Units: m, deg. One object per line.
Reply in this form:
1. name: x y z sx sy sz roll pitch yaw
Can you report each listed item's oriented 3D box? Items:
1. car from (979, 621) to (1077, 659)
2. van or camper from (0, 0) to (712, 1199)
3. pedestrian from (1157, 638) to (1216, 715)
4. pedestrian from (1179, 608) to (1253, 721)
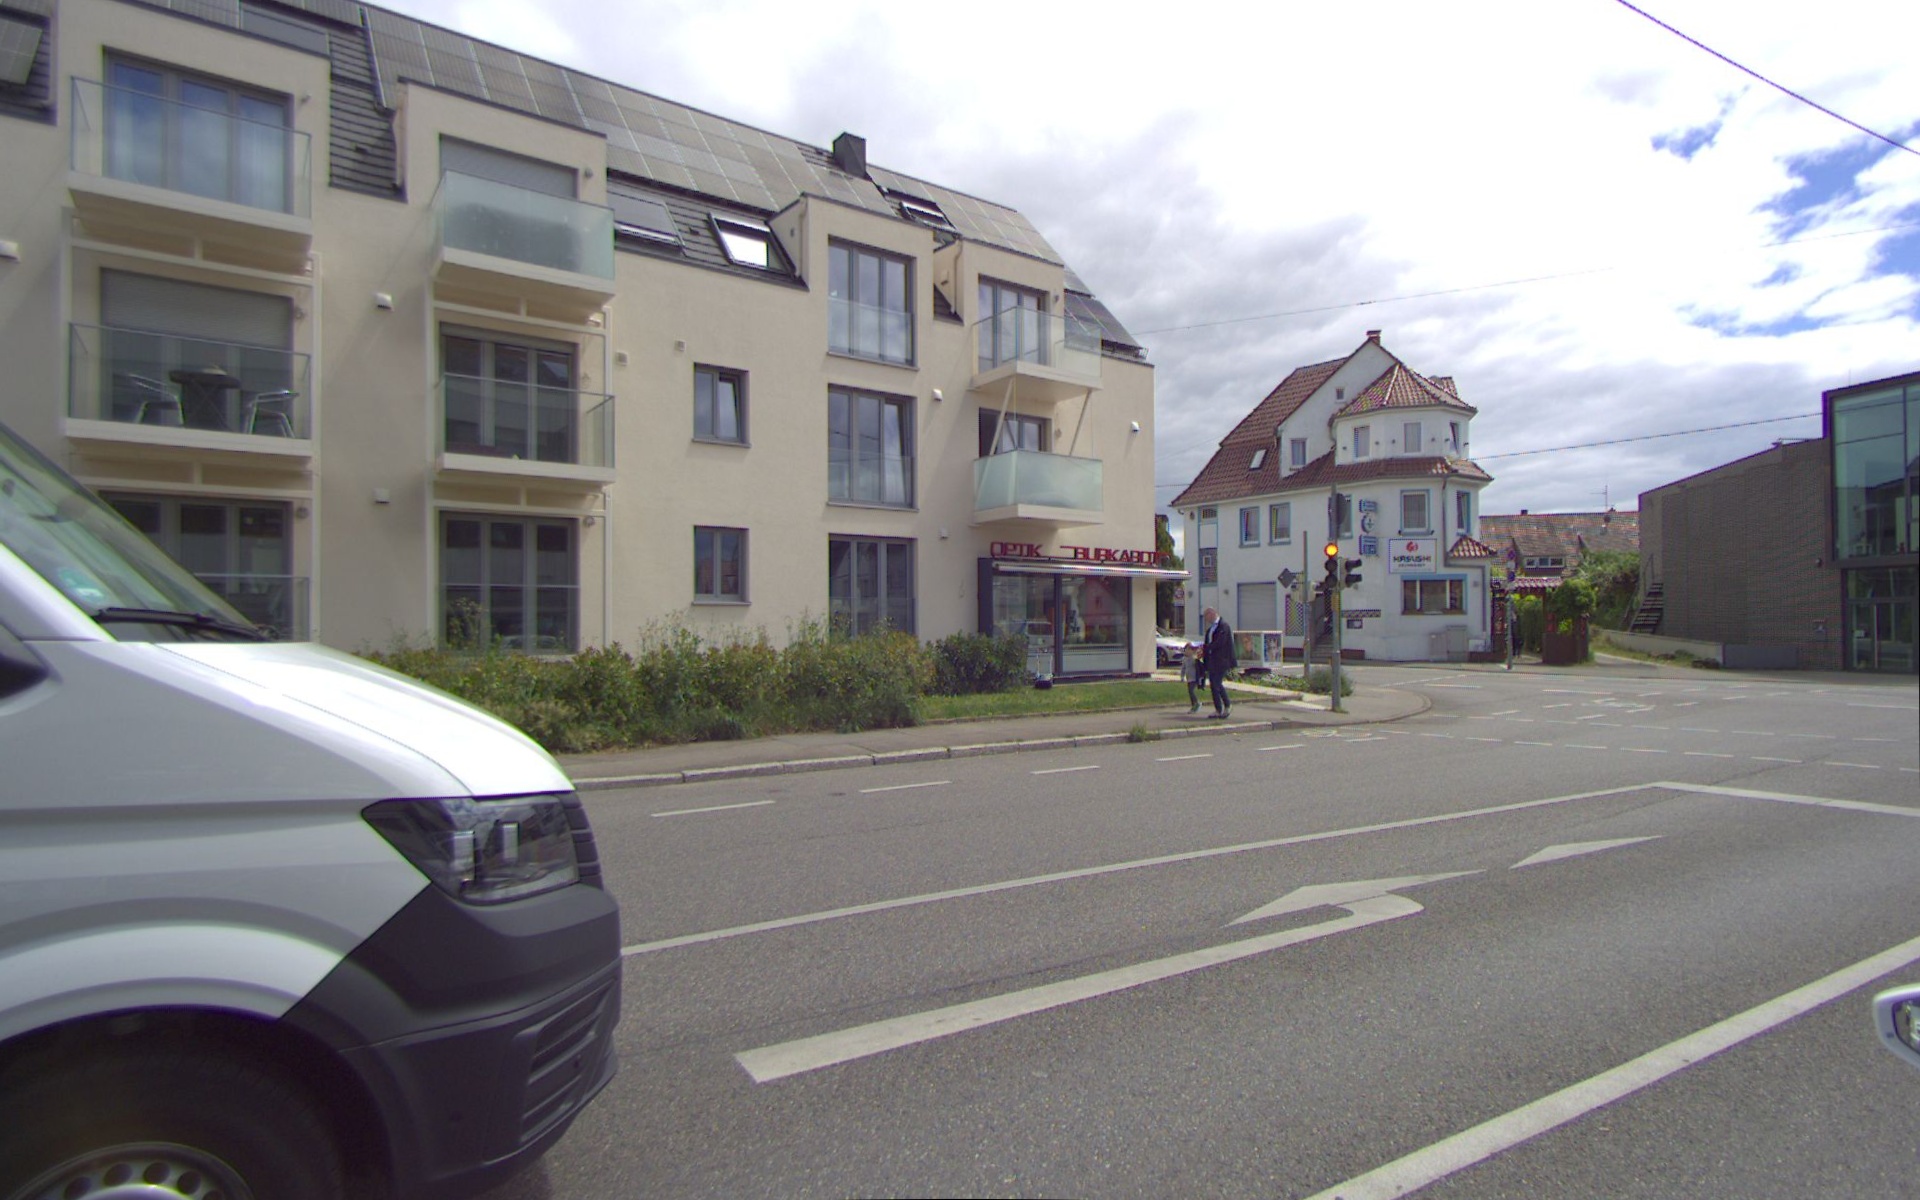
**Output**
1. car: 2.927 1.724 44.250 1.879 1.475 4.468 1 0 -36
2. van or camper: -3.544 0.152 1.488 5.856 2.615 2.013 0 0 -32
3. pedestrian: 3.790 1.263 16.820 0.729 1.238 0.639 1 -1 -36
4. pedestrian: 4.109 1.013 16.133 0.817 1.744 0.809 1 -1 -36
